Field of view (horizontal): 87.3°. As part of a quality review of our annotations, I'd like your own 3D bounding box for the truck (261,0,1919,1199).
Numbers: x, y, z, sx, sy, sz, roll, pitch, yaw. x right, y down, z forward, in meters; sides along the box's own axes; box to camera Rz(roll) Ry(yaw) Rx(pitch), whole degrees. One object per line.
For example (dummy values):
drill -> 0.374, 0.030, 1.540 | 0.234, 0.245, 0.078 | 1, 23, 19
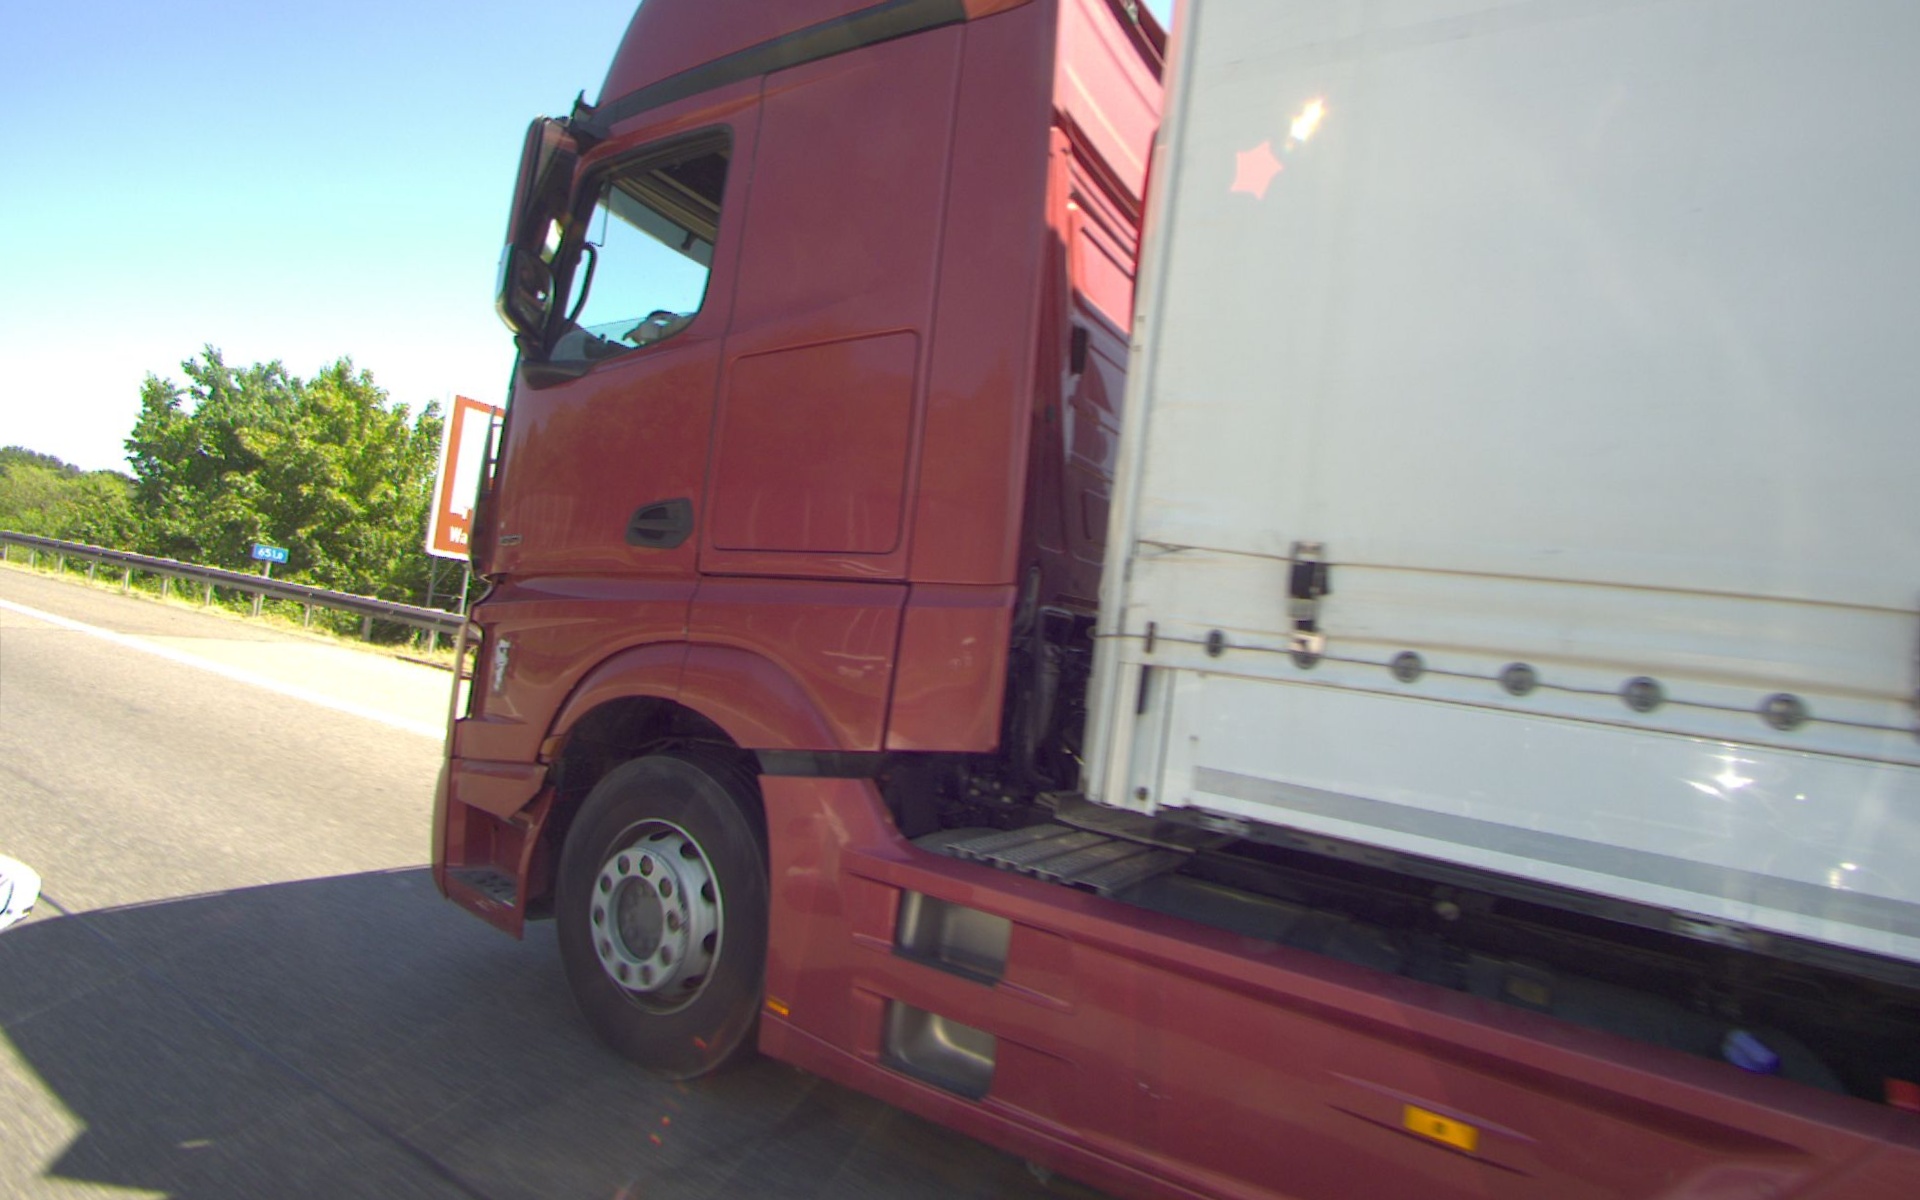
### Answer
truck -> 0.924, -0.532, 3.518 | 6.850, 4.136, 2.712 | 7, -1, 32
